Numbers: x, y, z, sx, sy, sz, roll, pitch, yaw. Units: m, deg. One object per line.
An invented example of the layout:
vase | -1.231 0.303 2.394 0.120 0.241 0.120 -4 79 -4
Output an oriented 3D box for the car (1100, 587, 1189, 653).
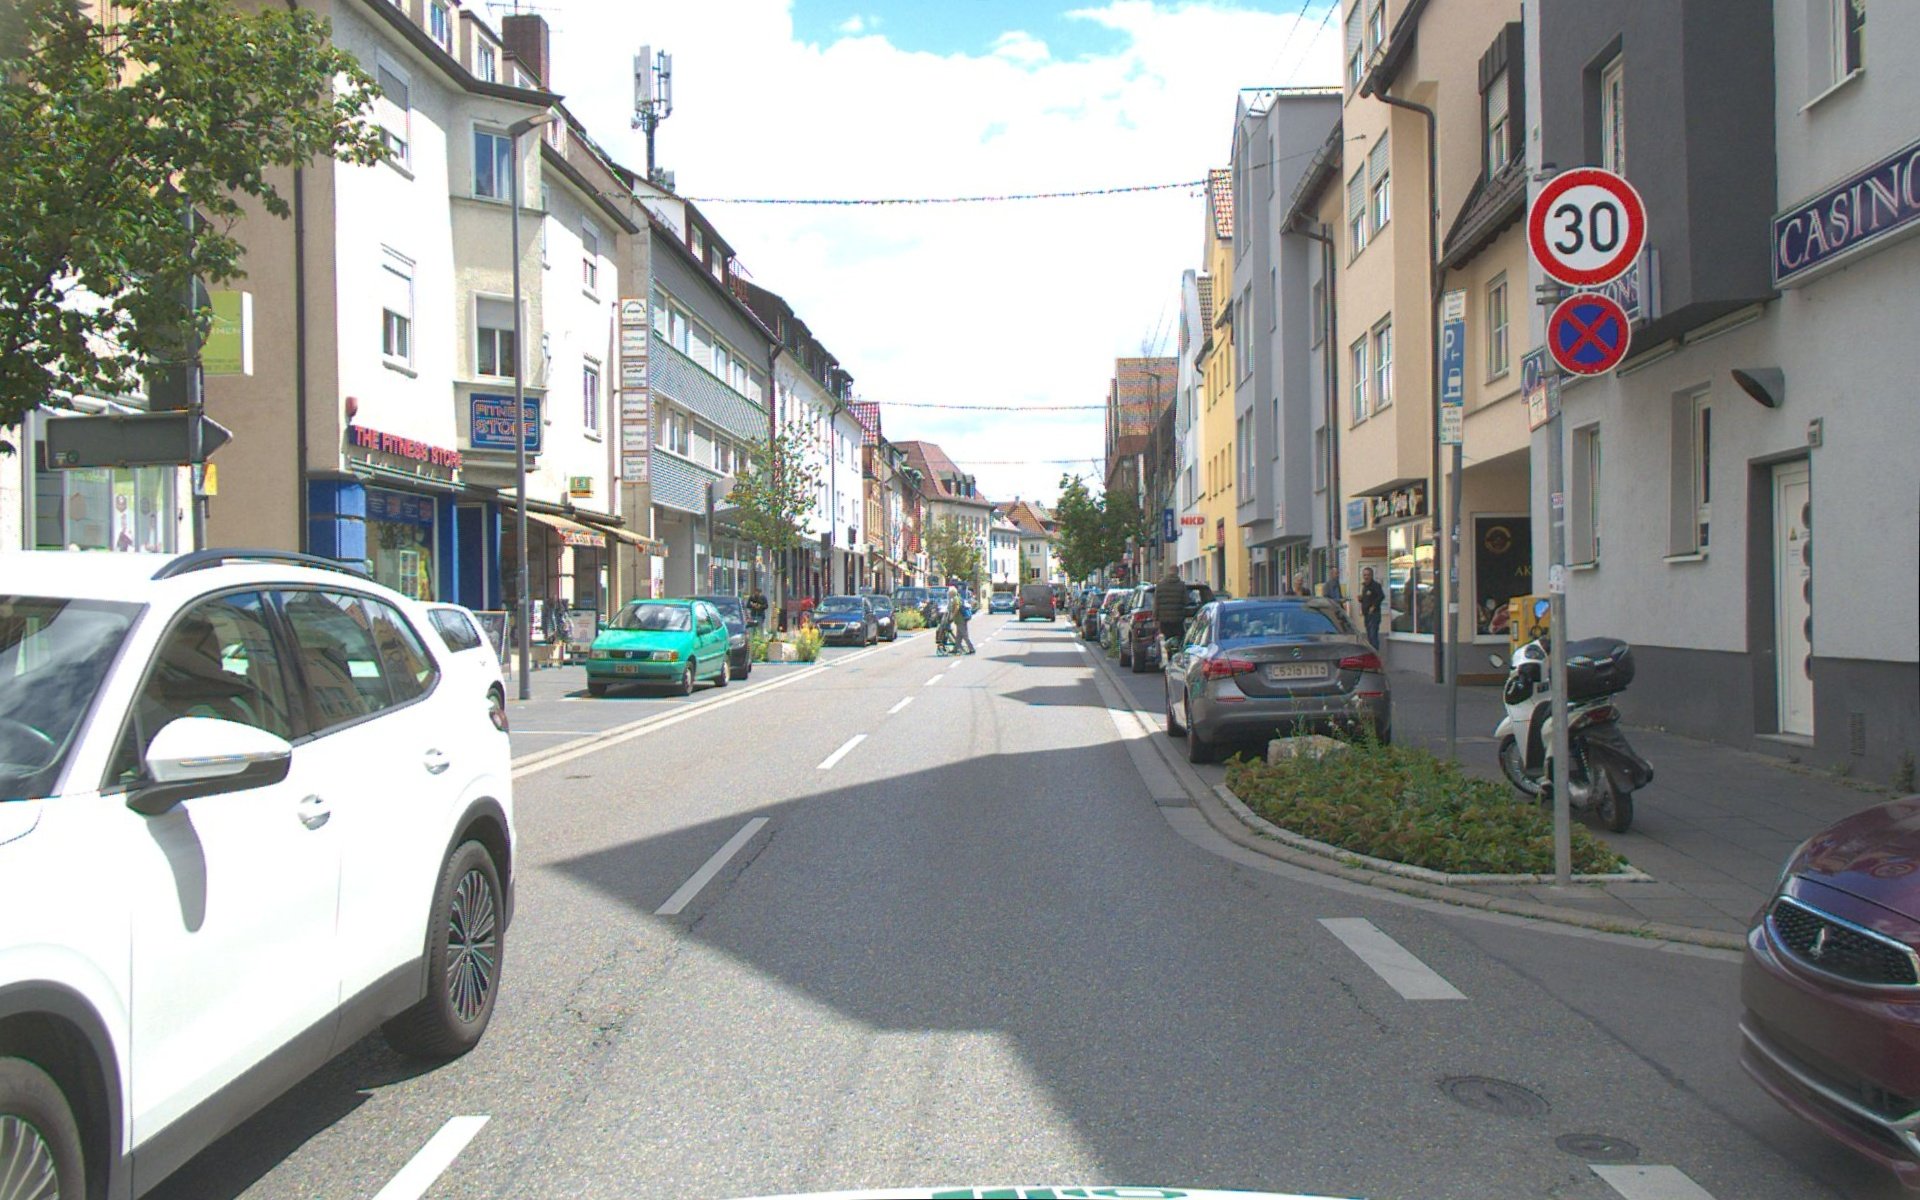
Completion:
car | 4.496 0.489 40.874 1.655 1.465 4.295 -3 -1 0

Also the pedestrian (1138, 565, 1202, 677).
pedestrian | 3.659 0.364 28.906 0.955 1.896 0.865 -2 -1 2

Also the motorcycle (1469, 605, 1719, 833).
motorcycle | 3.959 0.684 10.553 0.645 1.281 2.375 1 -1 -1

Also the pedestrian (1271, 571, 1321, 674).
pedestrian | 5.787 0.383 28.524 0.728 1.748 0.656 -1 -1 2

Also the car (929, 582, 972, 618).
car | -0.467 0.041 85.037 1.778 1.786 4.466 1 -1 5

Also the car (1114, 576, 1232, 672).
car | 3.969 0.411 31.390 1.762 1.631 4.205 -2 0 2

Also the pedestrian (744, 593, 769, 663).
pedestrian | -5.262 0.734 42.832 0.537 1.788 0.729 1 -1 0

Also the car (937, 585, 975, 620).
car | -0.195 0.159 92.915 1.778 1.922 4.843 1 -1 4

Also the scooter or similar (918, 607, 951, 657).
scooter or similar | -0.603 0.754 38.910 0.766 1.145 0.630 1 -1 -2

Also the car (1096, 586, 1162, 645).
car | 4.769 0.445 47.054 1.654 1.601 3.757 1 -1 3

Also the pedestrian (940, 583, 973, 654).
pedestrian | -0.084 0.428 38.929 0.716 1.646 0.651 1 -1 -2

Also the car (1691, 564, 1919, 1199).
car | 3.995 0.732 4.115 3.669 1.557 1.537 1 -1 2

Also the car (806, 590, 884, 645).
car | -3.358 0.499 49.198 1.752 1.539 4.714 0 0 3

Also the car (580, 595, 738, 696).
car | -4.636 0.686 25.960 1.552 1.439 3.670 1 -1 4

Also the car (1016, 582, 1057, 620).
car | 3.946 0.080 84.910 1.998 1.881 5.001 1 -1 3

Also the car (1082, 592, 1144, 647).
car | 4.694 0.577 51.251 1.654 1.497 4.526 1 2 2

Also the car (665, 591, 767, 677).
car | -4.468 0.611 30.682 1.565 1.471 3.554 1 -1 -4

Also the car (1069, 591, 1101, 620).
car | 6.933 0.318 91.611 1.685 1.520 4.111 1 -1 4

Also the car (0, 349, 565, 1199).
car | -2.462 0.406 4.174 1.750 1.669 4.117 1 -1 3

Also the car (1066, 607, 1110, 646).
car | 5.485 1.112 71.346 1.685 1.604 4.110 1 -1 2

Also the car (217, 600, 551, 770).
car | -5.426 0.744 16.174 1.808 1.422 4.036 1 -1 0

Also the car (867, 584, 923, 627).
car | -2.782 0.245 72.091 1.777 1.786 4.671 1 -1 6

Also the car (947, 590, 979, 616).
car | 0.197 0.162 105.630 1.761 1.626 4.391 0 0 3

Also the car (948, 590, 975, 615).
car | 0.105 0.151 111.172 1.762 1.632 4.351 -1 0 0

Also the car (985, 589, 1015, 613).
car | 2.772 0.099 113.882 1.865 1.591 4.647 1 -1 3

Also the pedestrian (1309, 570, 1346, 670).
pedestrian | 6.524 0.353 29.389 0.524 1.748 0.606 1 -1 1

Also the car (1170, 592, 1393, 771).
car | 2.924 0.696 15.829 1.671 1.445 4.321 1 -1 5

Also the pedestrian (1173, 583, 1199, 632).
pedestrian | 7.365 0.256 53.891 0.734 1.580 0.726 -1 -1 2

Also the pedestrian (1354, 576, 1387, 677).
pedestrian | 7.194 0.468 29.016 0.426 1.748 0.537 1 -1 0

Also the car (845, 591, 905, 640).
car | -2.803 0.486 55.231 1.753 1.529 4.178 1 0 0
